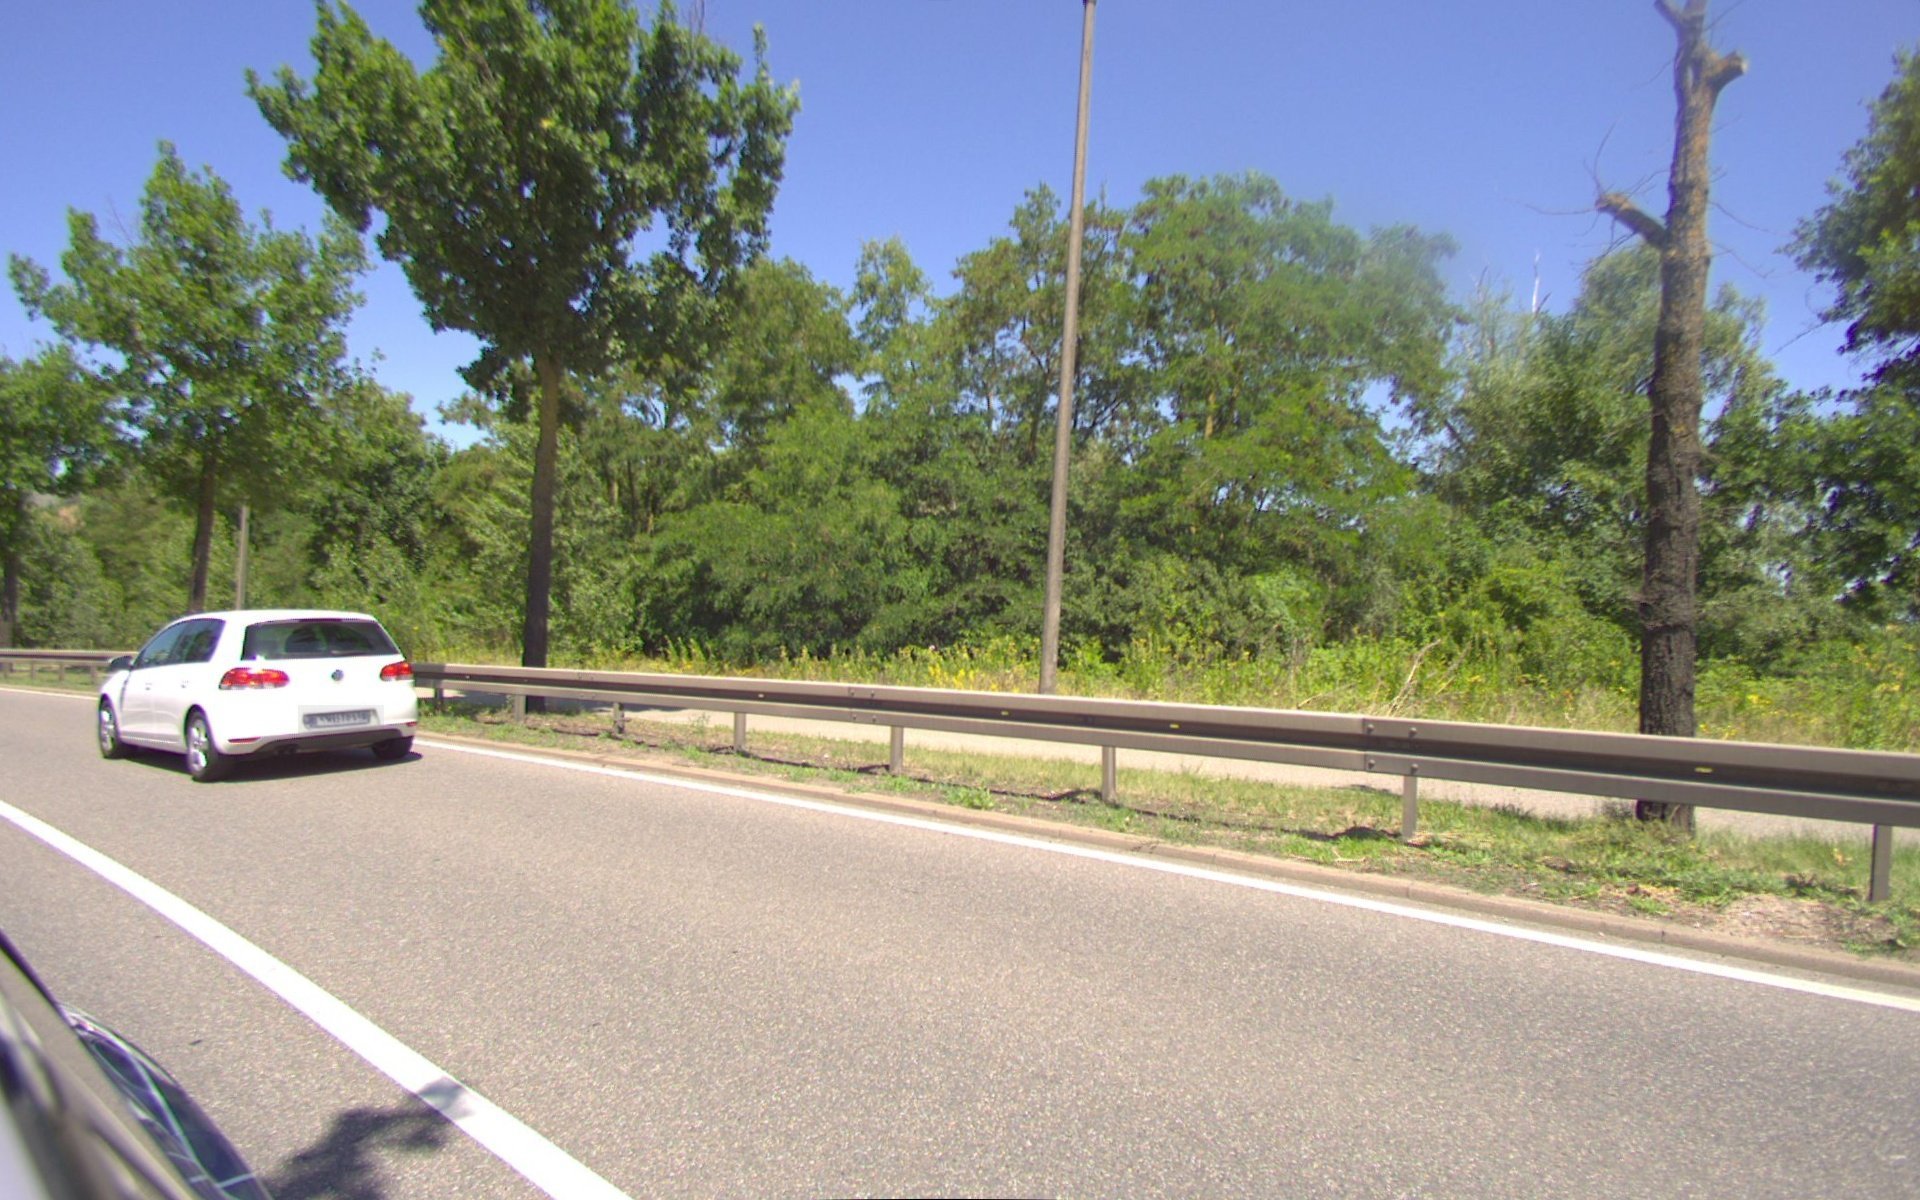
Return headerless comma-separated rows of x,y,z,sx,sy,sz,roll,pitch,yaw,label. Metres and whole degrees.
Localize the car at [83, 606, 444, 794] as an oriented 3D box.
-6.885,0.829,9.868,4.016,1.449,1.709,-1,0,37,car
